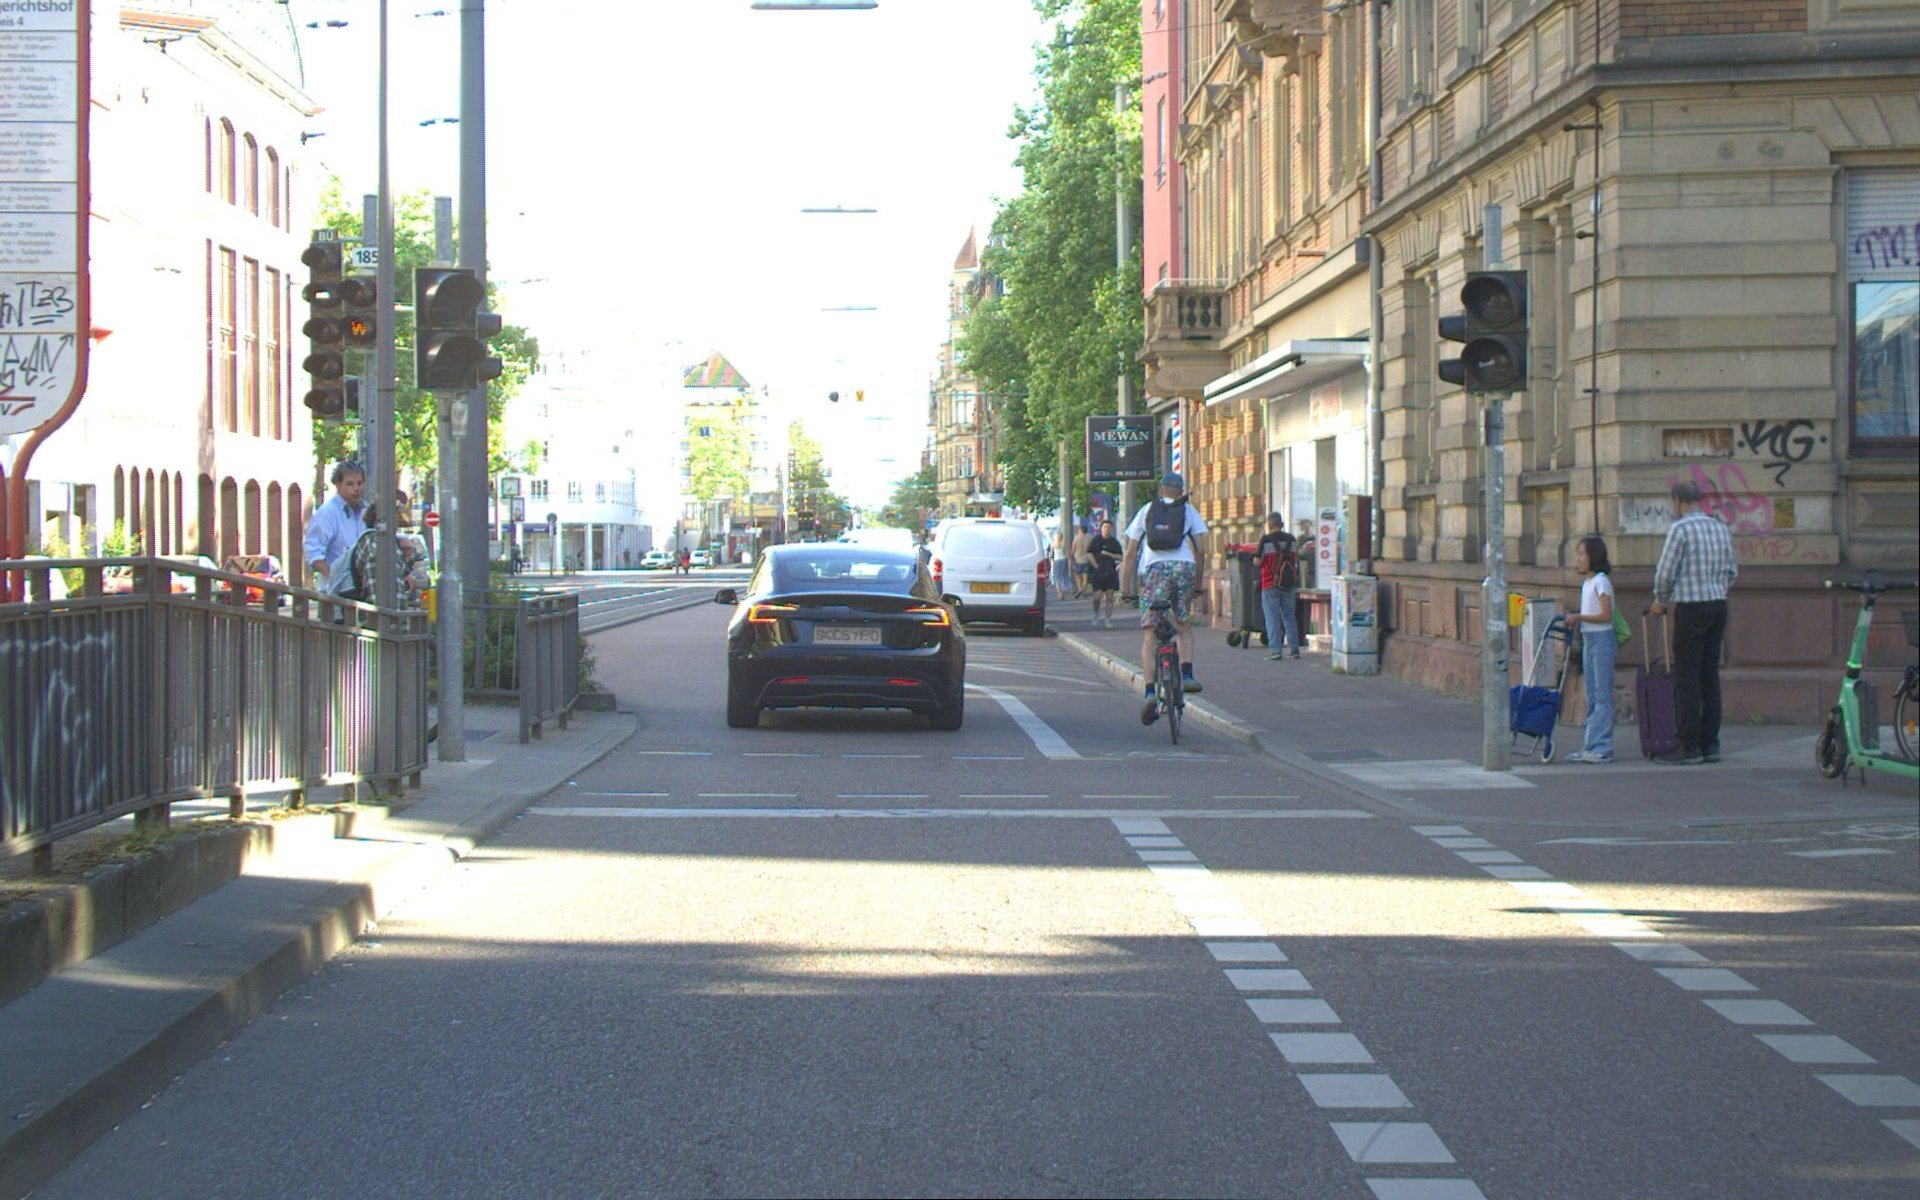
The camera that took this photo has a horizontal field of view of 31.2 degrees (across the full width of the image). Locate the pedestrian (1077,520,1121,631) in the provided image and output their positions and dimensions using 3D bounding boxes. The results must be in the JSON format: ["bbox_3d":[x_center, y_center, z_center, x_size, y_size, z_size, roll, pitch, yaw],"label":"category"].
[{"bbox_3d":[2.299,-0.406,56.836,0.672,1.808,0.756,0,0,-2],"label":"pedestrian"}]

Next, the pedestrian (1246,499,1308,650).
[{"bbox_3d":[3.671,-0.298,39.788,0.470,1.722,0.586,1,2,35],"label":"pedestrian"}]

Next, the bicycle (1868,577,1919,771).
[{"bbox_3d":[6.071,0.436,19.548,0.443,1.111,1.814,-1,2,-41],"label":"bicycle"}]

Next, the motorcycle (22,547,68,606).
[{"bbox_3d":[-20.767,-0.539,78.039,0.519,1.293,2.082,2,1,-2],"label":"motorcycle"}]

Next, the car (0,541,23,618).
[{"bbox_3d":[-18.981,-0.366,63.977,1.901,1.453,4.827,0,1,-2],"label":"car"}]

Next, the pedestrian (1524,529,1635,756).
[{"bbox_3d":[3.931,0.261,21.838,0.574,1.410,0.581,2,1,2],"label":"pedestrian"}]

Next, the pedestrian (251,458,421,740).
[{"bbox_3d":[-4.133,-0.014,22.800,0.594,1.815,0.940,2,1,32],"label":"pedestrian"}]

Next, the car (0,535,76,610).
[{"bbox_3d":[-19.143,-0.569,69.425,1.751,1.469,4.208,0,1,-4],"label":"car"}]

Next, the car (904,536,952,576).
[{"bbox_3d":[-1.200,-1.627,128.227,1.710,1.452,4.551,1,1,-1],"label":"car"}]

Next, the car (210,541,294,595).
[{"bbox_3d":[-19.708,-0.910,95.823,1.659,1.417,3.620,1,1,-1],"label":"car"}]

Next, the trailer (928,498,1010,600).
[{"bbox_3d":[0.195,-1.113,74.598,1.661,2.109,3.843,2,1,0],"label":"trailer"}]

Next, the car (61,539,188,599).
[{"bbox_3d":[-19.568,-0.753,80.703,1.960,1.321,4.821,1,1,-2],"label":"car"}]

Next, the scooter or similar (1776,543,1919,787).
[{"bbox_3d":[5.085,0.332,19.041,0.390,1.285,1.523,-1,1,-17],"label":"scooter or similar"}]

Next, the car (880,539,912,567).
[{"bbox_3d":[-3.328,-2.451,178.616,1.593,1.428,3.686,-1,1,0],"label":"car"}]

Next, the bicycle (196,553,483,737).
[{"bbox_3d":[-4.146,0.287,22.887,1.942,1.090,0.598,4,1,33],"label":"bicycle"}]

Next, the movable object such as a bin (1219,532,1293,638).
[{"bbox_3d":[3.789,-0.198,44.127,0.775,1.343,1.299,0,1,-3],"label":"movable object such as a bin"}]

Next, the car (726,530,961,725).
[{"bbox_3d":[-0.937,0.171,27.395,1.719,1.400,3.710,1,1,-2],"label":"car"}]

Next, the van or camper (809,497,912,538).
[{"bbox_3d":[-6.738,-5.608,233.597,6.858,2.645,2.147,-2,2,-32],"label":"van or camper"}]

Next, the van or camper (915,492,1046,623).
[{"bbox_3d":[0.293,-0.688,57.191,1.931,2.030,5.476,1,0,-2],"label":"van or camper"}]

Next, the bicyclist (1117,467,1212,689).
[{"bbox_3d":[1.550,-0.173,26.170,0.655,1.650,0.927,1,1,0],"label":"bicyclist"}]

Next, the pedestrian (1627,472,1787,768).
[{"bbox_3d":[4.644,0.108,21.425,0.847,1.801,0.876,0,2,4],"label":"pedestrian"}]

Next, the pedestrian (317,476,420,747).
[{"bbox_3d":[-3.560,0.061,20.678,0.517,1.585,0.667,3,1,-11],"label":"pedestrian"}]

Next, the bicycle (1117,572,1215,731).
[{"bbox_3d":[1.552,0.364,26.151,0.647,1.135,2.095,1,1,1],"label":"bicycle"}]
